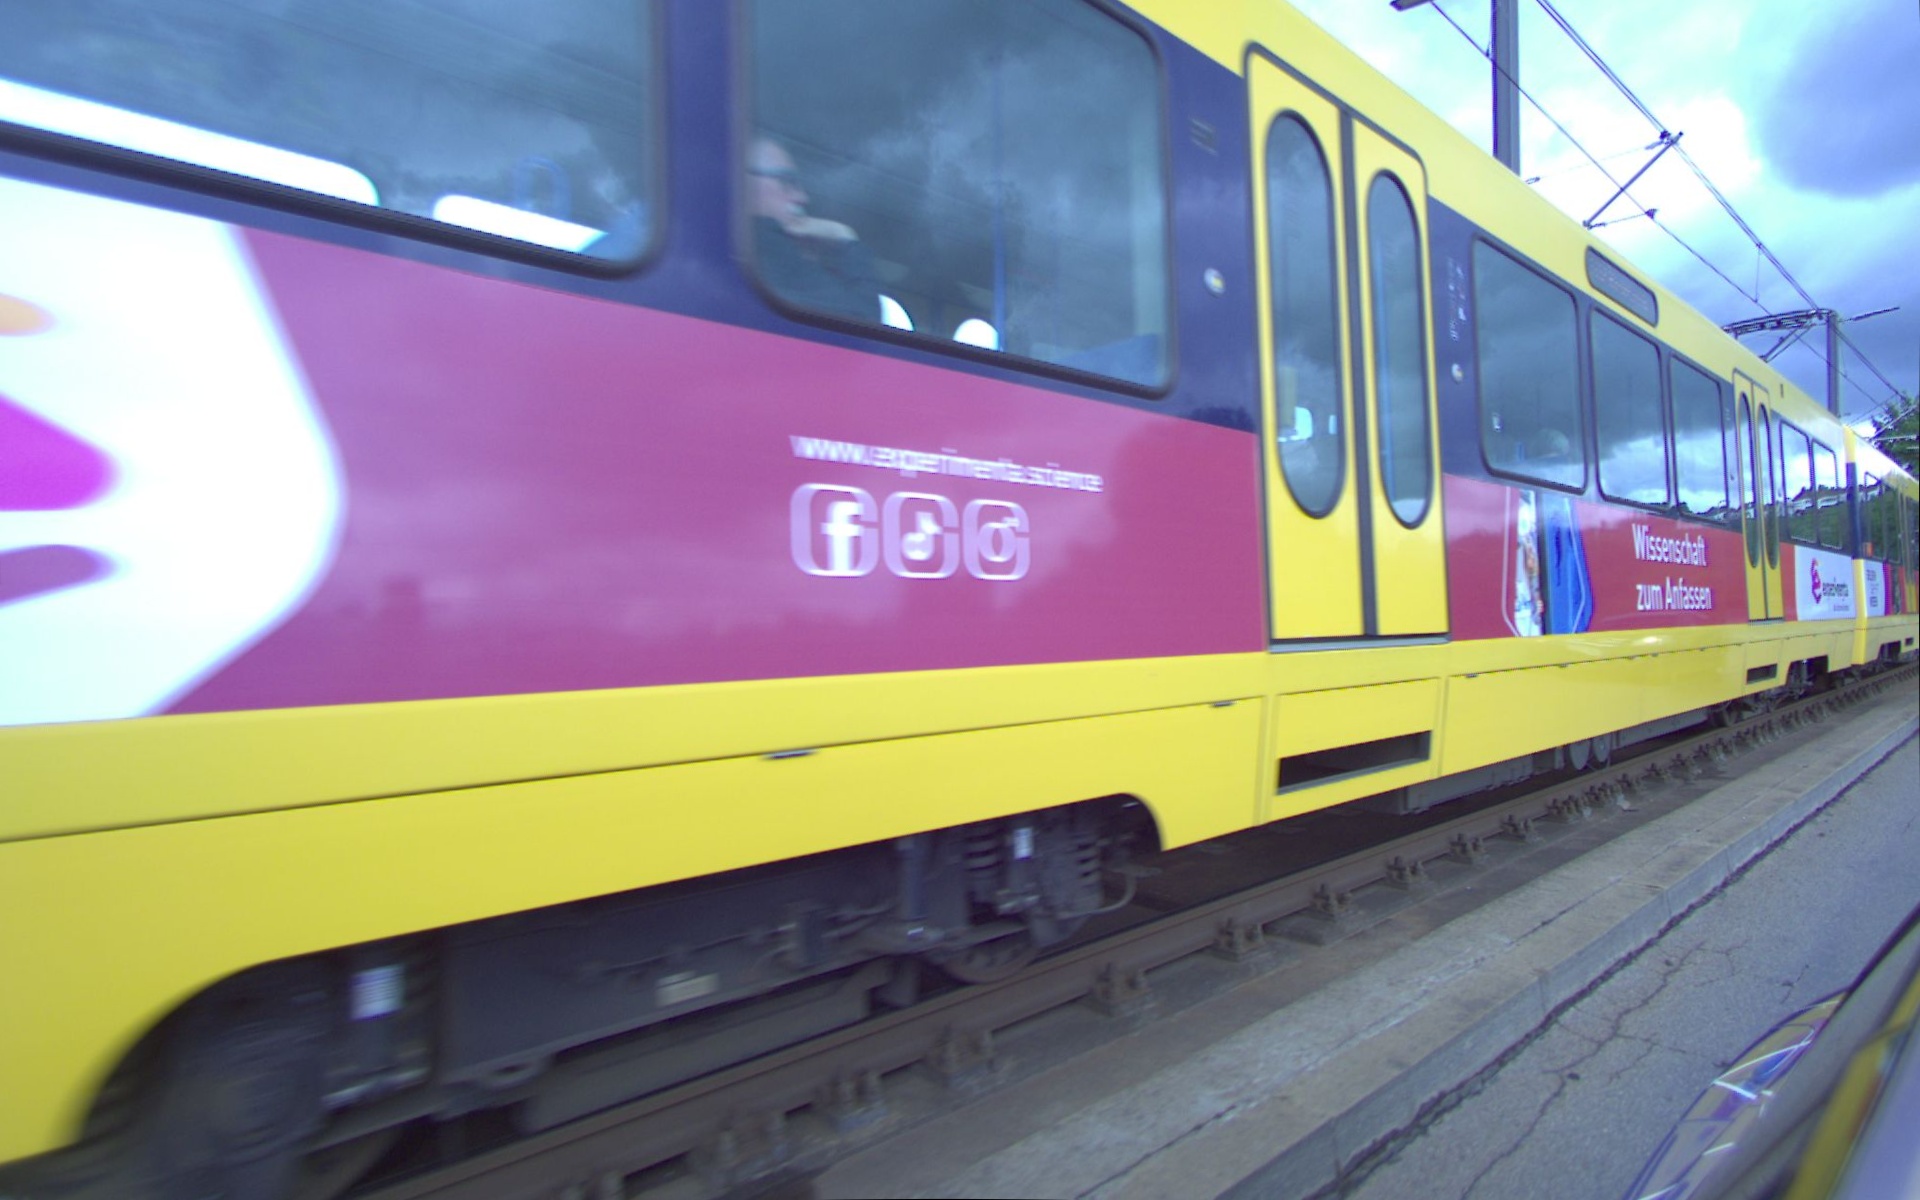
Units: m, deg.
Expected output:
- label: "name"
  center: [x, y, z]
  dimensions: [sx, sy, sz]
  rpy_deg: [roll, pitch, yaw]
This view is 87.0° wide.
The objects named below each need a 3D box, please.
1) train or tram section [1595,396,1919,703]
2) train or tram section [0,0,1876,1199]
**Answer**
- label: "train or tram section"
  center: [16.525, -0.699, 18.944]
  dimensions: [18.345, 3.553, 2.887]
  rpy_deg: [-1, 2, -42]
- label: "train or tram section"
  center: [2.898, -0.606, 6.751]
  dimensions: [18.345, 3.625, 2.834]
  rpy_deg: [-1, 2, -42]
